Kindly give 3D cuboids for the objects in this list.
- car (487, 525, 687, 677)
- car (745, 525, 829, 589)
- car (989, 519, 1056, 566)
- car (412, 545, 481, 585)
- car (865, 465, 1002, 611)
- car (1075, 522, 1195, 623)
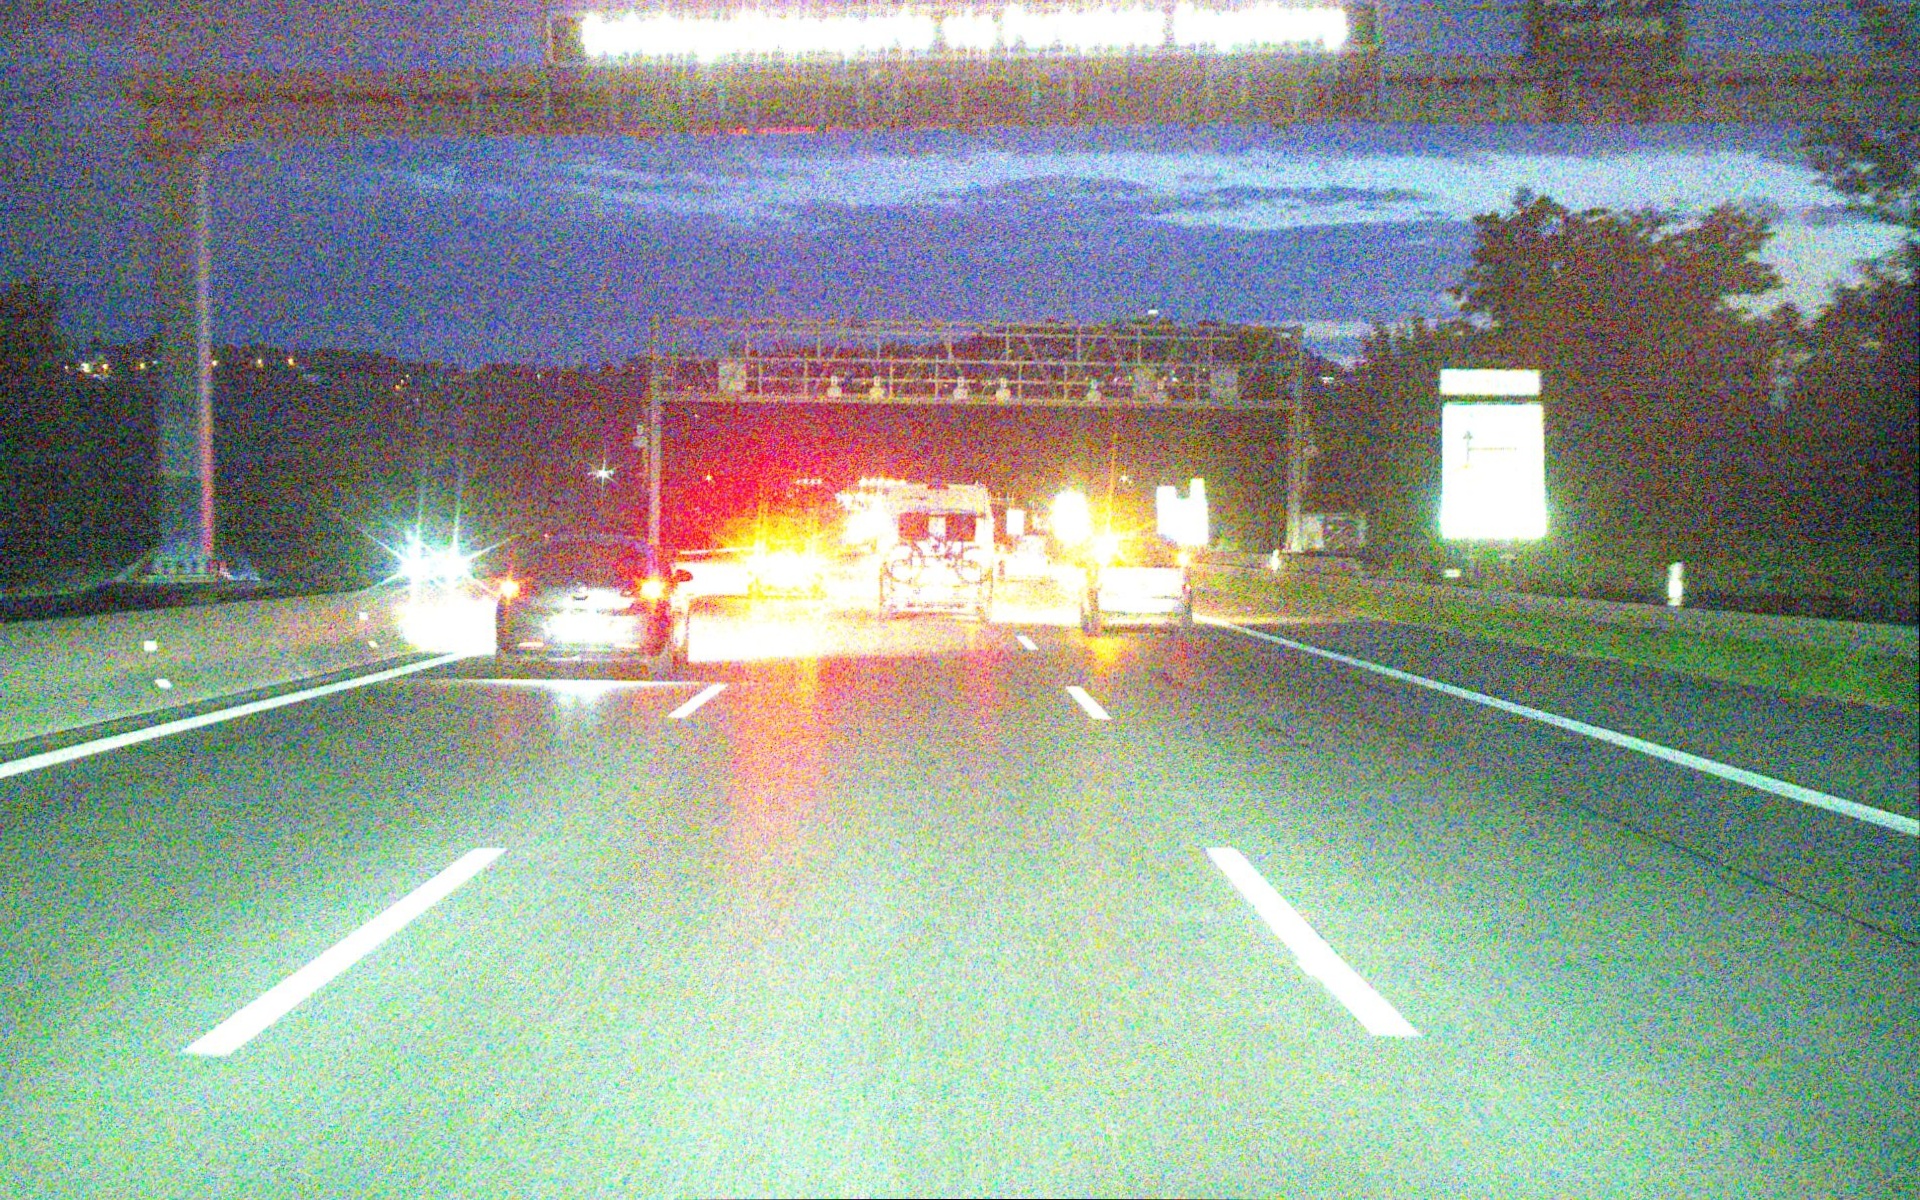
[{"bbox_3d":[-3.841,-0.031,35.872,1.793,1.464,3.773,1,1,-2],"label":"car"},{"bbox_3d":[-4.061,-1.033,81.224,1.744,1.435,4.368,0,1,0],"label":"car"},{"bbox_3d":[2.109,-1.965,117.546,2.163,1.558,4.723,0,1,0],"label":"car"},{"bbox_3d":[-20.605,-1.422,138.082,1.964,1.532,5.185,-1,1,0],"label":"car"},{"bbox_3d":[-0.463,-1.147,62.530,2.351,2.526,5.701,0,1,0],"label":"car"},{"bbox_3d":[2.858,-0.474,56.893,1.646,1.591,4.510,1,1,-1],"label":"car"}]
